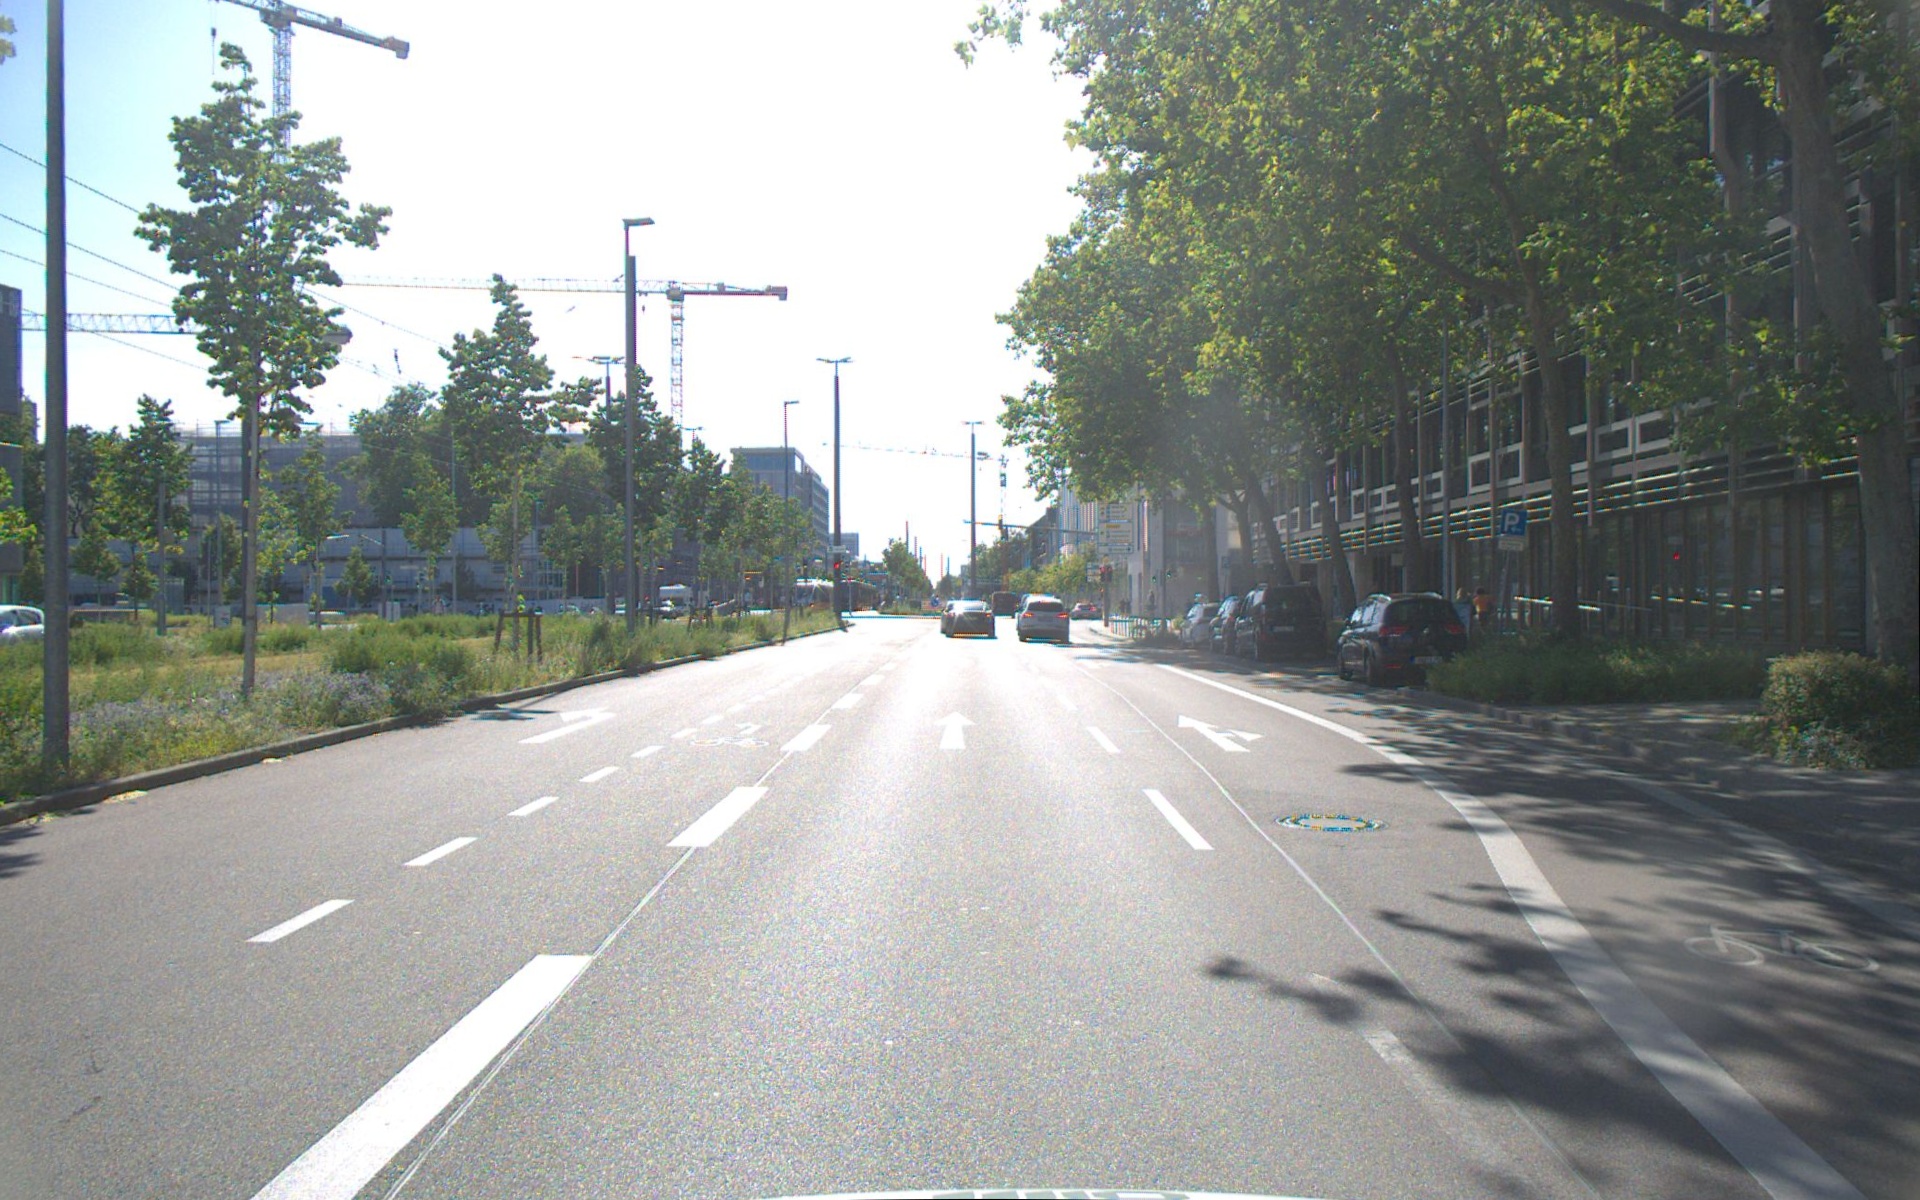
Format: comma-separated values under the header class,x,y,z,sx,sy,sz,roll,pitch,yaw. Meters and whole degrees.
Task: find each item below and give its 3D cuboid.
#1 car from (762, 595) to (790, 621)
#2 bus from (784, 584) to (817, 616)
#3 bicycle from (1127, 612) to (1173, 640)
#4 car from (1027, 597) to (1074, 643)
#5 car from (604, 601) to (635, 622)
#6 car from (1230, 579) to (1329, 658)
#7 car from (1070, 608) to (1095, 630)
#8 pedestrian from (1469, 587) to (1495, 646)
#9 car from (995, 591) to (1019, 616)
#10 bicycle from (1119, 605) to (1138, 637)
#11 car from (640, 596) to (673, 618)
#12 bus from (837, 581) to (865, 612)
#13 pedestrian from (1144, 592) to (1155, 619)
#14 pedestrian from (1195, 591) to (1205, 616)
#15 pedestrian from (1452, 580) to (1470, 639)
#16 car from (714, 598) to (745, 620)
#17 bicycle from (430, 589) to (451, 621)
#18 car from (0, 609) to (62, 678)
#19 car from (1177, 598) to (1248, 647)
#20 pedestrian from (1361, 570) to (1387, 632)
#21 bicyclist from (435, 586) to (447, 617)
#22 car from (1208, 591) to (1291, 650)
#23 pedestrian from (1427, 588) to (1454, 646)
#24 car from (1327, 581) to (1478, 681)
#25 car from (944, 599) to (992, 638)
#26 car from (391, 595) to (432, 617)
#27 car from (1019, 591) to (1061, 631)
class,x,y,z,sx,sy,sz,roll,pitch,yaw
car,-14.000,0.614,126.044,1.859,1.847,3.997,2,-1,-3
bus,-15.222,0.039,158.229,2.575,2.832,8.840,2,-1,-2
bicycle,7.159,0.985,62.400,1.660,0.974,0.478,-2,0,-4
car,3.370,0.730,62.194,1.686,1.646,4.187,0,0,2
car,-28.449,0.978,138.321,1.800,1.641,3.895,2,-1,0
car,7.995,0.431,41.685,1.669,1.821,4.192,-2,0,0
car,9.803,1.534,132.327,1.628,1.678,3.699,2,-1,-1
pedestrian,14.536,0.461,46.066,0.542,1.631,0.573,0,0,0
car,4.030,0.289,142.258,1.952,2.049,4.000,2,-1,1
bicycle,7.743,0.970,76.082,0.550,1.466,2.576,2,-1,-1
car,-17.986,0.419,98.009,1.348,1.199,3.220,2,-1,0
bus,-11.438,-0.305,174.681,2.575,3.011,9.894,2,-1,-2
pedestrian,10.418,0.323,90.981,0.550,1.466,0.632,1,-1,7
pedestrian,14.141,0.209,97.515,0.550,1.466,0.632,1,-1,7
pedestrian,13.940,0.264,46.030,0.309,1.612,0.500,0,0,-8
car,-13.613,0.543,97.651,1.348,1.199,3.220,2,-1,0
bicycle,-24.643,0.242,78.474,0.353,1.481,1.914,0,0,1
car,-20.792,0.912,34.951,1.600,1.422,3.832,0,0,-1
car,8.192,0.685,53.979,1.669,1.519,4.600,0,0,0
pedestrian,13.186,0.045,52.709,0.663,1.950,0.557,2,-1,0
bicyclist,-24.631,0.078,78.530,0.386,1.480,0.539,2,0,-1
car,8.176,0.564,47.045,1.669,1.591,4.192,0,0,0
pedestrian,13.379,0.466,46.069,0.496,1.612,0.634,0,0,-8
car,7.967,0.512,30.179,1.668,1.672,4.637,0,0,2
car,0.289,0.706,66.583,1.873,1.512,4.009,0,0,-1
car,-40.950,0.454,123.517,1.675,1.583,4.000,2,-1,1
car,3.668,0.484,76.530,1.686,1.814,4.185,0,0,-1
